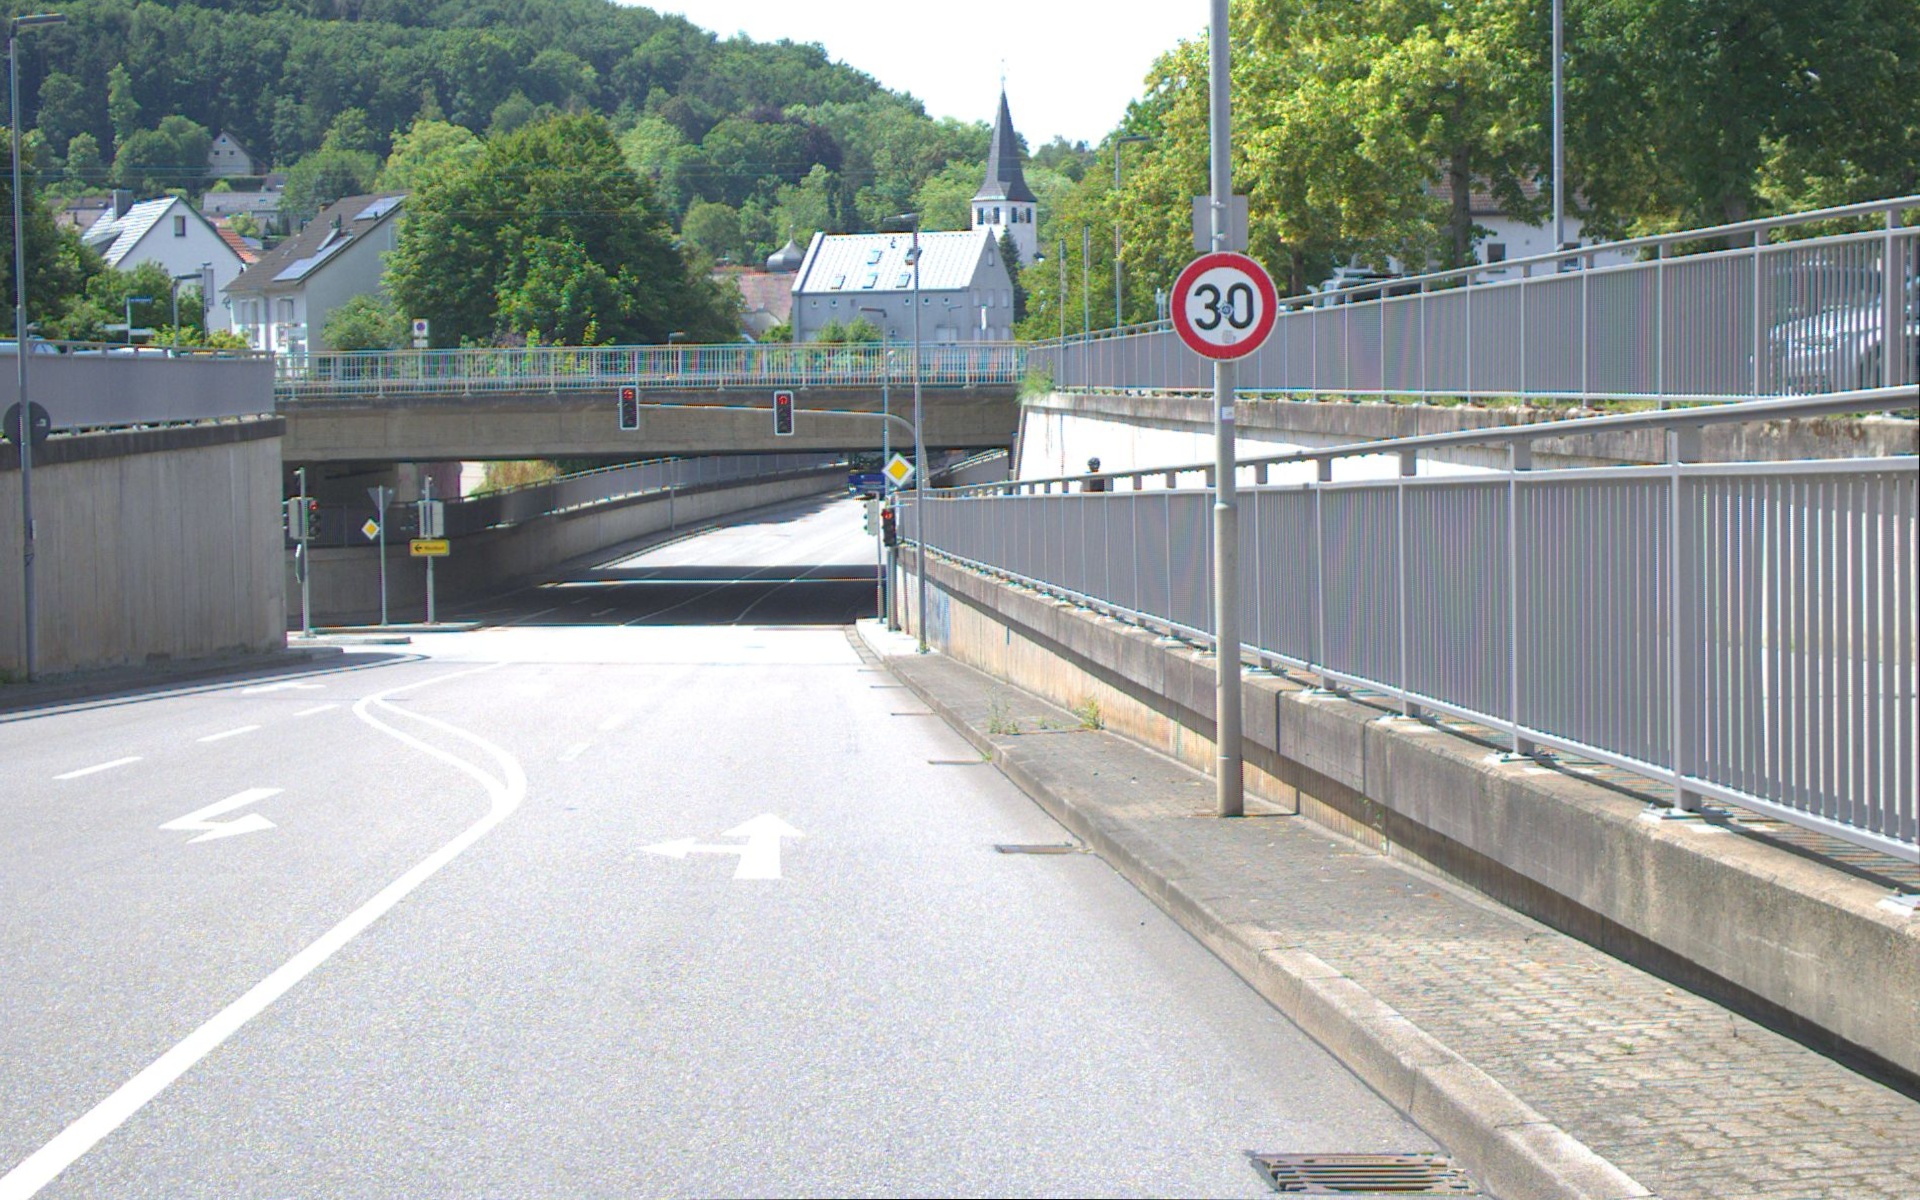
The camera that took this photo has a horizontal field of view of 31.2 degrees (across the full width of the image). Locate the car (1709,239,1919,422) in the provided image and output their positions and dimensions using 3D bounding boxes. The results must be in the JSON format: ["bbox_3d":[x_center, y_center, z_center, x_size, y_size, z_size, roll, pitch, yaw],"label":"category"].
[{"bbox_3d":[8.209,-2.147,27.639,3.987,1.423,1.725,0,3,0],"label":"car"}]

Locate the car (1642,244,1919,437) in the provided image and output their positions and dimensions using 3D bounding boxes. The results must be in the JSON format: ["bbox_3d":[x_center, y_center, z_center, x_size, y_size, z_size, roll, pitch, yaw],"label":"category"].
[{"bbox_3d":[8.003,-2.195,29.428,3.987,1.550,1.725,0,1,0],"label":"car"}]

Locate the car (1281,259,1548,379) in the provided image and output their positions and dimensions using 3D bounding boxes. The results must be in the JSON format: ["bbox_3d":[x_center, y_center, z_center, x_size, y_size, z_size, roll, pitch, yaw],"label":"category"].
[{"bbox_3d":[7.130,-4.411,54.173,3.987,1.764,1.770,0,1,1],"label":"car"}]

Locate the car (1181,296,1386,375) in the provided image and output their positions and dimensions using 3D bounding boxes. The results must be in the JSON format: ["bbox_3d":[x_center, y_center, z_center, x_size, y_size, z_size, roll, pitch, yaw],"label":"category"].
[{"bbox_3d":[6.533,-5.359,69.715,3.987,1.481,1.770,0,1,1],"label":"car"}]

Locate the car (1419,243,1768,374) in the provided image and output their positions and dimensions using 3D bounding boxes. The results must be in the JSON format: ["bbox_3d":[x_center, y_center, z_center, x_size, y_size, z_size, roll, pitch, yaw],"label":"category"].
[{"bbox_3d":[7.770,-3.580,42.435,3.987,1.481,1.770,0,1,1],"label":"car"}]

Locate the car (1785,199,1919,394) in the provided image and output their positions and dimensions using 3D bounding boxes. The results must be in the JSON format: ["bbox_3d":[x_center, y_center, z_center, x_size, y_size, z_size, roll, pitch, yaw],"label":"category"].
[{"bbox_3d":[8.303,-2.264,25.275,3.986,1.302,1.773,-2,1,-2],"label":"car"}]

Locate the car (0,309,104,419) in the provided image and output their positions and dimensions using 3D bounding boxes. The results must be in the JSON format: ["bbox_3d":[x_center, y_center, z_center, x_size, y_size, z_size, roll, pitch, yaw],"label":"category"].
[{"bbox_3d":[-13.869,-3.434,50.490,1.798,1.519,4.394,0,3,-5],"label":"car"}]

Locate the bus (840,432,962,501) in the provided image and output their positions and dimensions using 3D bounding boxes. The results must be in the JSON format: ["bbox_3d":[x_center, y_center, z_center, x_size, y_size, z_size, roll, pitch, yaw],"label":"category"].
[{"bbox_3d":[-2.717,-6.440,164.453,2.582,3.161,12.370,1,3,15],"label":"bus"}]
